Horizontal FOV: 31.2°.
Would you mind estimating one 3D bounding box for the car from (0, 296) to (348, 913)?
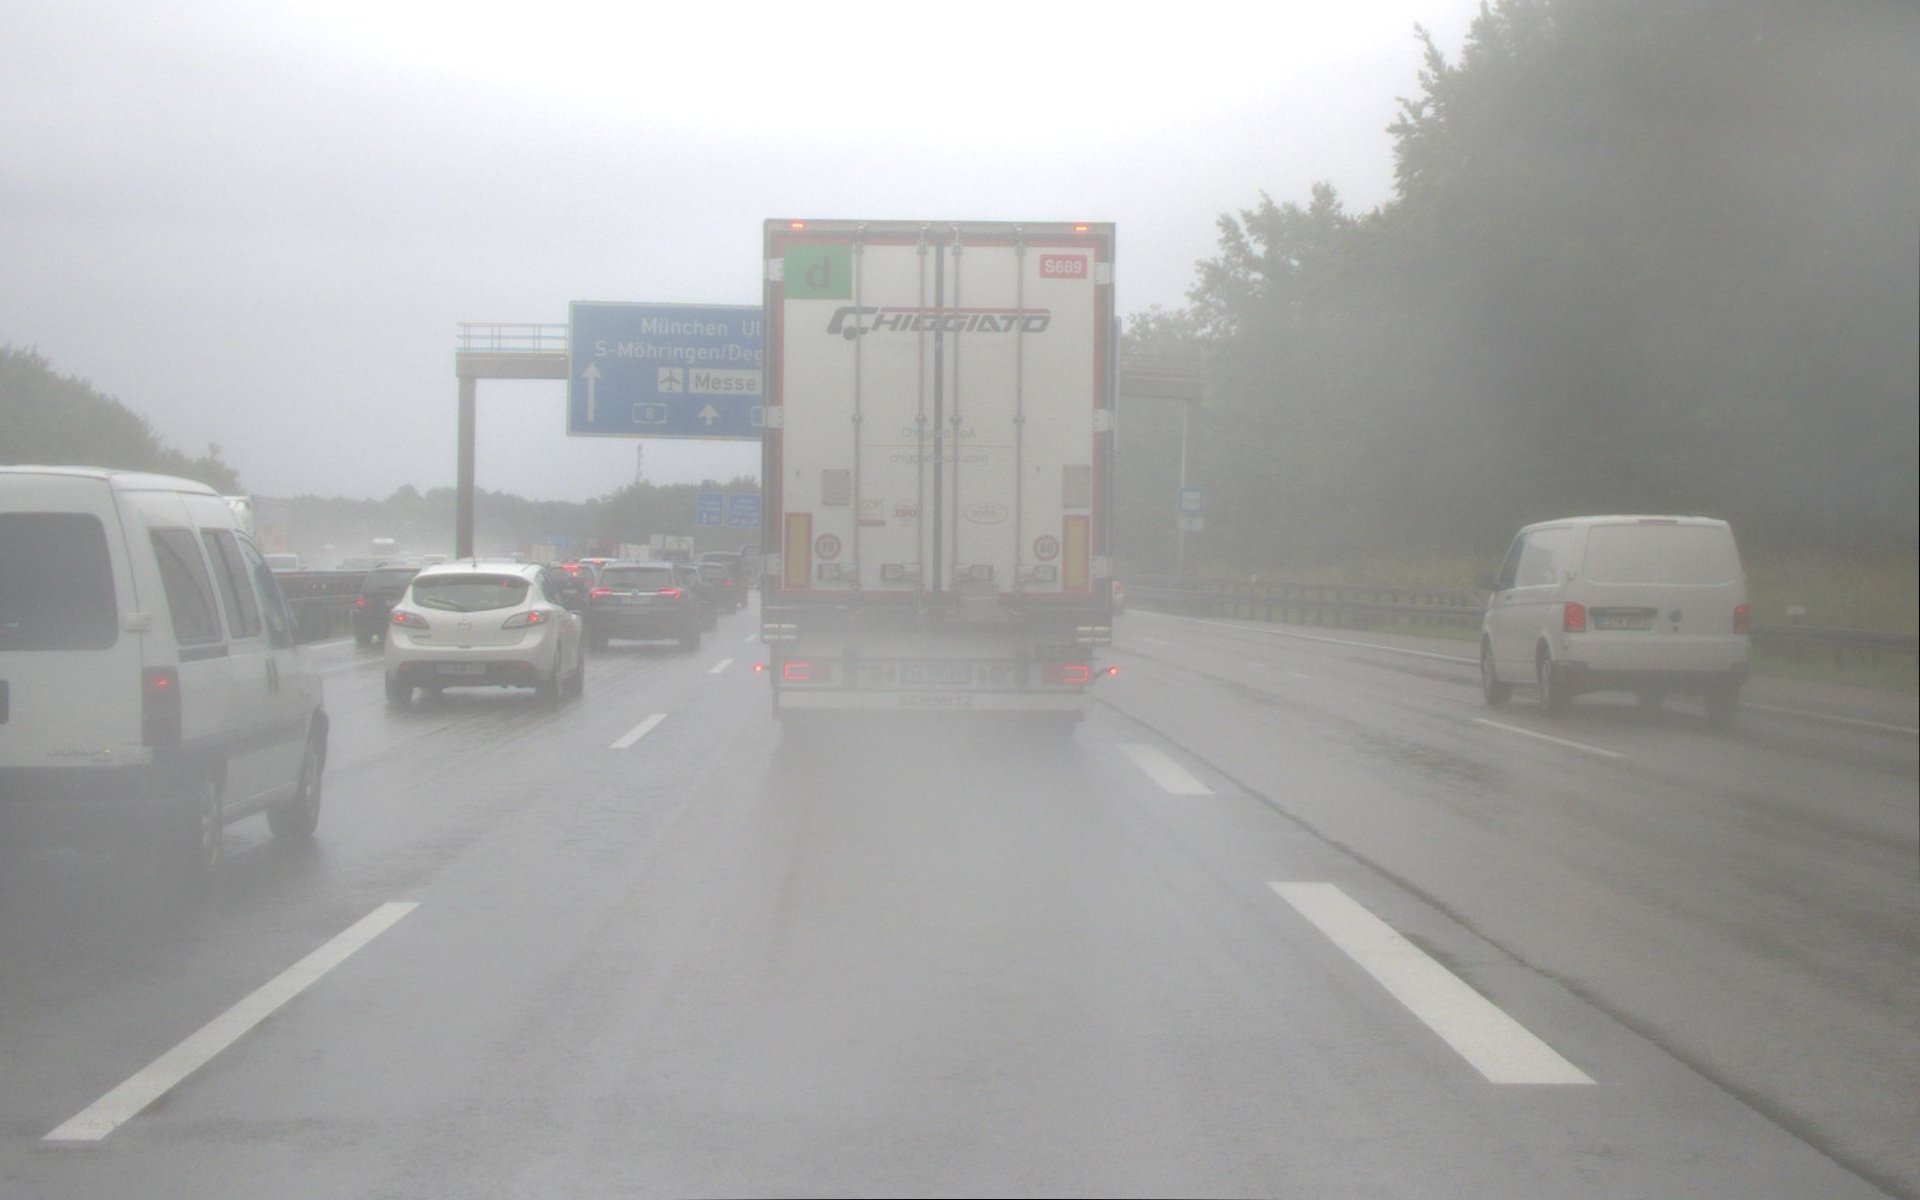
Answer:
[{"bbox_3d":[-4.404,-0.039,16.805,2.212,2.564,5.016,1,1,-4],"label":"car"}]

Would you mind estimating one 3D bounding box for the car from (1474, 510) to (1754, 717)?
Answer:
[{"bbox_3d":[6.475,0.080,34.572,1.990,1.914,4.767,1,1,1],"label":"car"}]

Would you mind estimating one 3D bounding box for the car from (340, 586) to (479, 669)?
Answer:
[{"bbox_3d":[-9.781,0.463,61.367,1.845,1.326,4.467,1,1,-1],"label":"car"}]

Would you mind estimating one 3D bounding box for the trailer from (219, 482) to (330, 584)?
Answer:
[{"bbox_3d":[-28.420,-2.736,143.075,2.540,4.011,13.853,1,1,-3],"label":"trailer"}]

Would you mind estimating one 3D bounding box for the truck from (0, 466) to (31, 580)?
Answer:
[{"bbox_3d":[-30.231,-2.311,101.935,2.519,3.471,11.721,1,1,-2],"label":"truck"}]

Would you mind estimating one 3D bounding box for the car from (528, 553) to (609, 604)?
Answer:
[{"bbox_3d":[-10.839,-0.619,95.455,1.845,1.326,4.467,1,1,-1],"label":"car"}]

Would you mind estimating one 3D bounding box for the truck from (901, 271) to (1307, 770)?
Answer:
[{"bbox_3d":[1.149,-0.628,30.339,2.872,3.550,11.302,1,1,1],"label":"truck"}]

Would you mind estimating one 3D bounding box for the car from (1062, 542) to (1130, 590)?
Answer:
[{"bbox_3d":[4.065,-1.031,103.580,1.790,1.402,4.228,1,1,-1],"label":"car"}]

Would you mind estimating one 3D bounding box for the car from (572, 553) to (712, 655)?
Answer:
[{"bbox_3d":[-5.240,0.033,57.186,1.845,1.586,4.467,1,1,1],"label":"car"}]

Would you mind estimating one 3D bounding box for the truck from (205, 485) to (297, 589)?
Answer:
[{"bbox_3d":[-28.060,-2.480,136.295,2.540,4.011,6.325,1,1,-2],"label":"truck"}]

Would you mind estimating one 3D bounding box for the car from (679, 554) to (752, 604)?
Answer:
[{"bbox_3d":[-6.920,-0.608,97.747,1.845,1.326,4.467,1,1,-1],"label":"car"}]

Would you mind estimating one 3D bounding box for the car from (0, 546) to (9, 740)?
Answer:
[{"bbox_3d":[-8.745,0.382,26.084,1.845,1.586,4.467,1,1,0],"label":"car"}]

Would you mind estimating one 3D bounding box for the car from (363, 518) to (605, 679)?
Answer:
[{"bbox_3d":[-4.981,-0.060,36.494,1.846,1.586,4.072,1,1,2],"label":"car"}]
